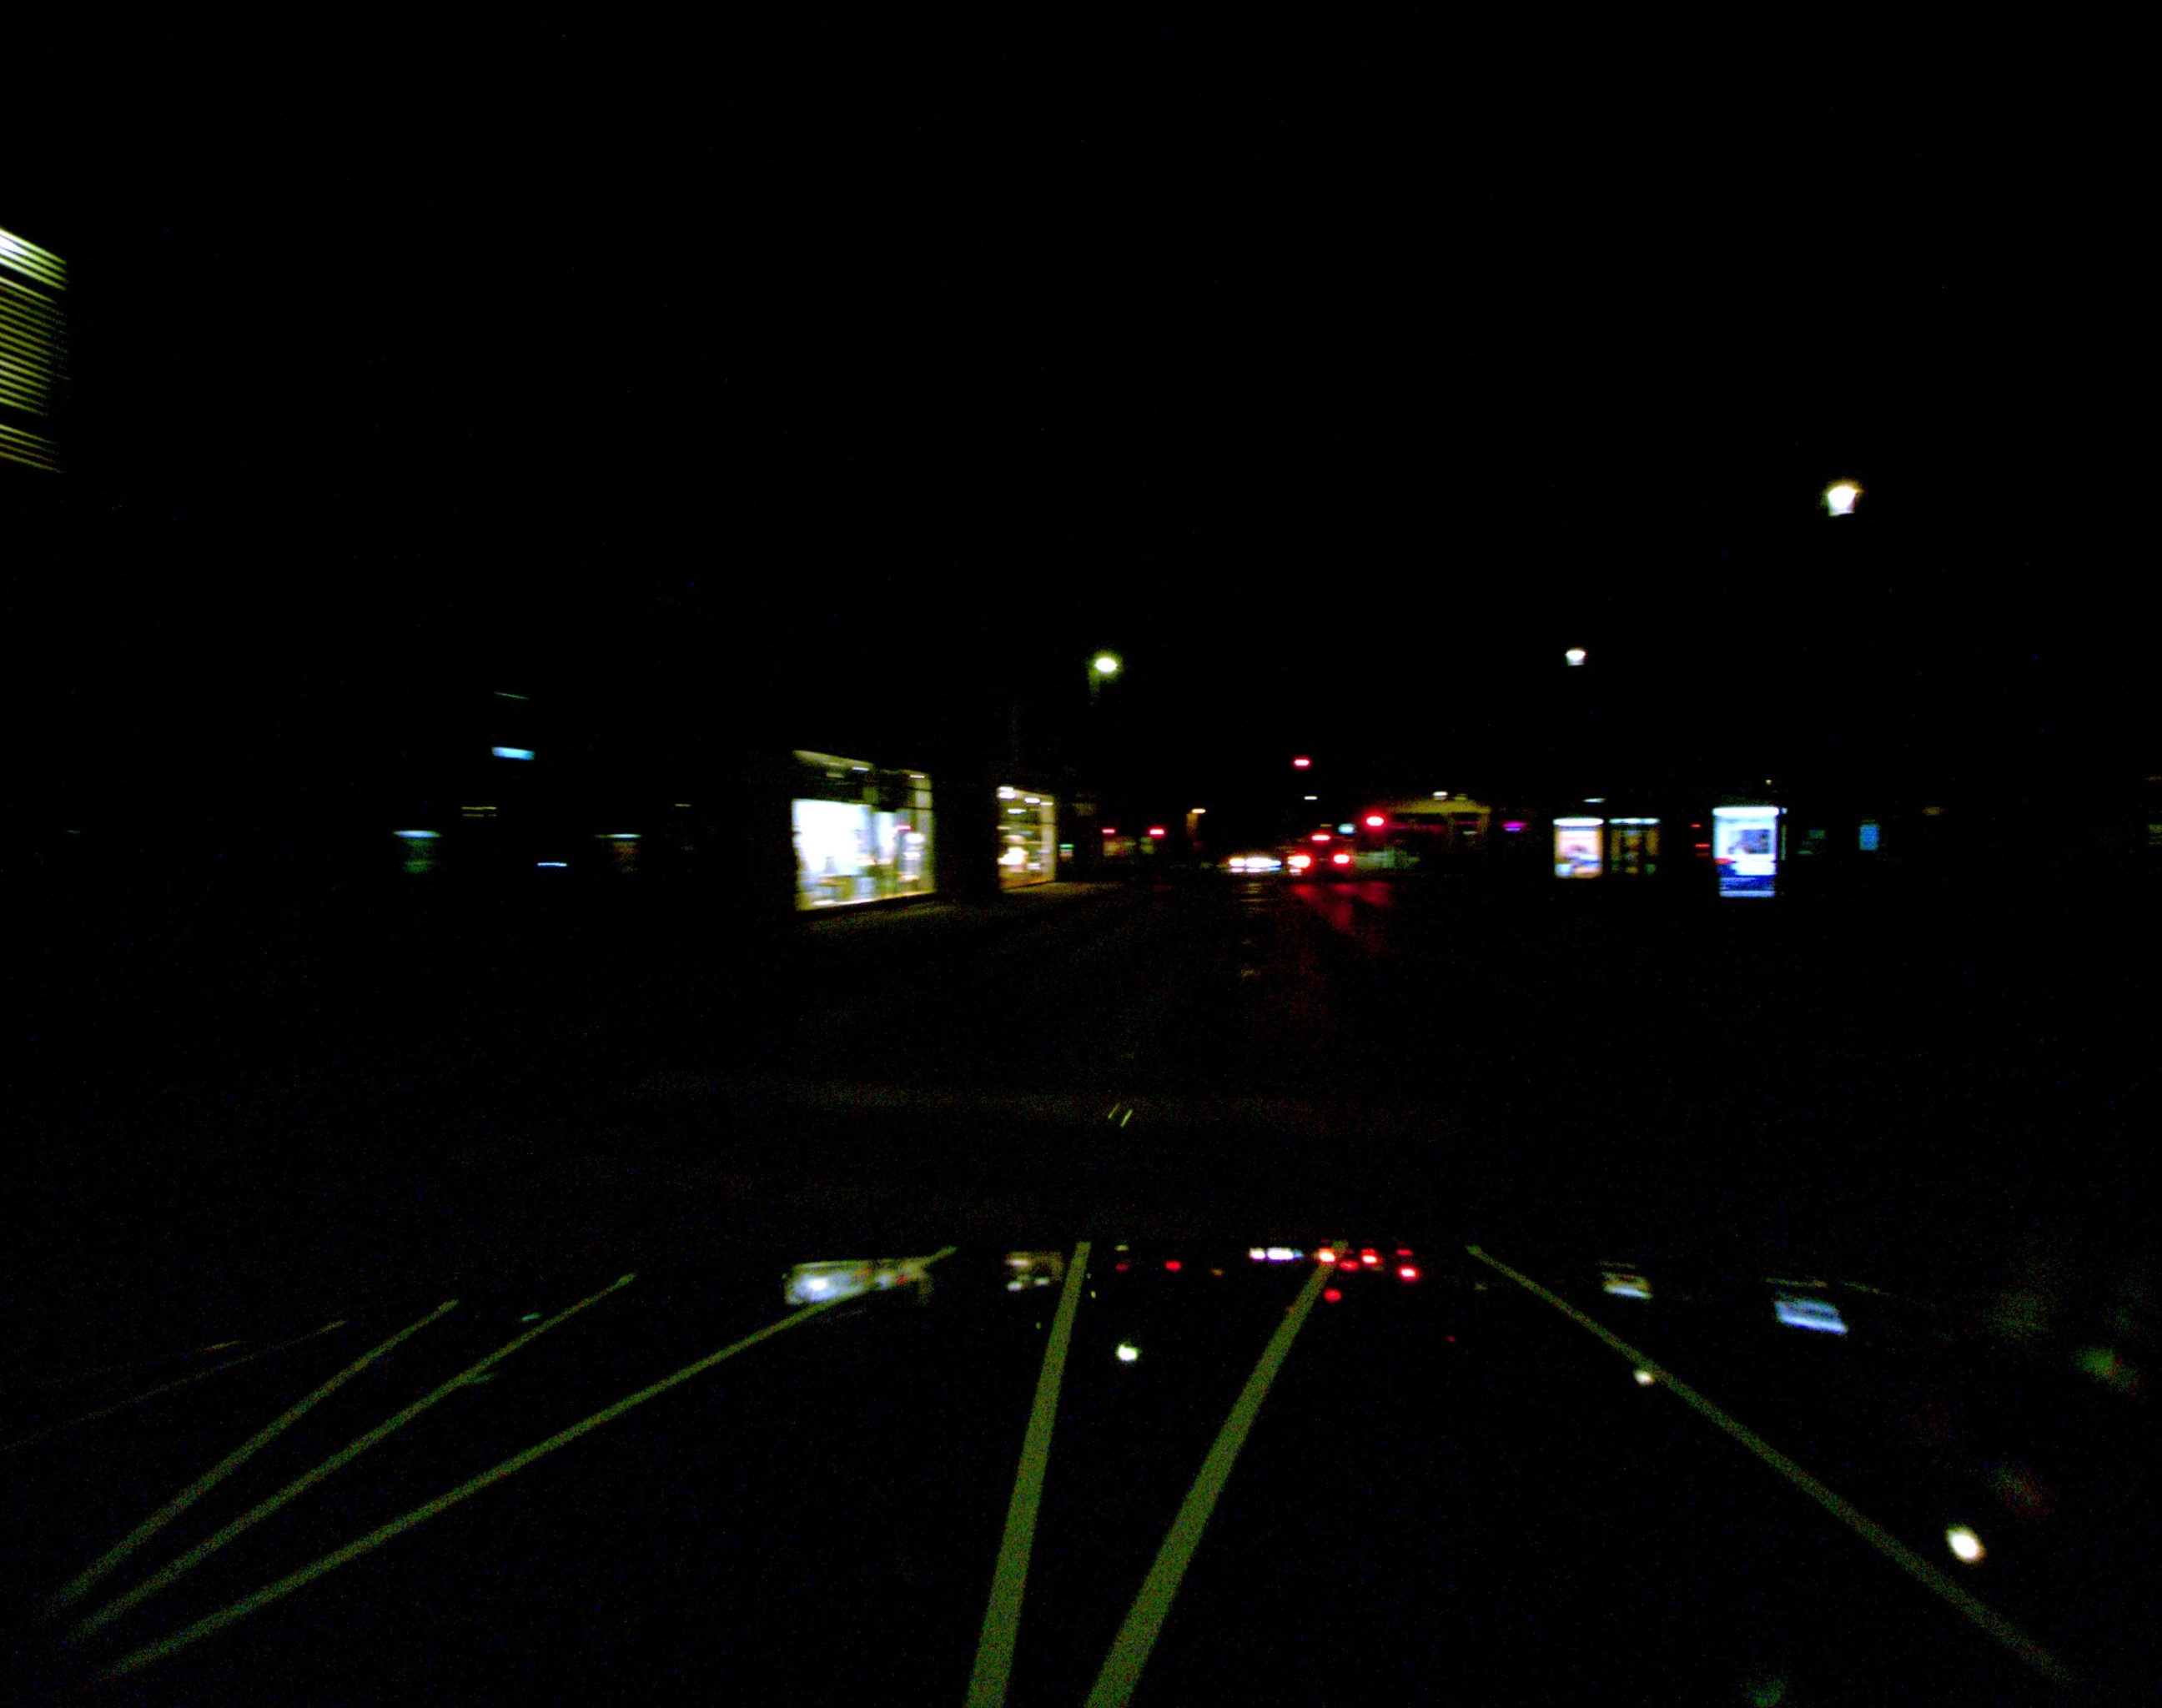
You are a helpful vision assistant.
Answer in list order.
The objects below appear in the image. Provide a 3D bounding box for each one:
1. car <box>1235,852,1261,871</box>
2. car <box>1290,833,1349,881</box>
[{"bbox_3d":[14.927,0.612,67.800,1.996,1.562,4.005,-2,0,16],"label":"car"},{"bbox_3d":[10.409,0.106,33.405,1.957,1.925,4.421,-2,0,11],"label":"car"}]
